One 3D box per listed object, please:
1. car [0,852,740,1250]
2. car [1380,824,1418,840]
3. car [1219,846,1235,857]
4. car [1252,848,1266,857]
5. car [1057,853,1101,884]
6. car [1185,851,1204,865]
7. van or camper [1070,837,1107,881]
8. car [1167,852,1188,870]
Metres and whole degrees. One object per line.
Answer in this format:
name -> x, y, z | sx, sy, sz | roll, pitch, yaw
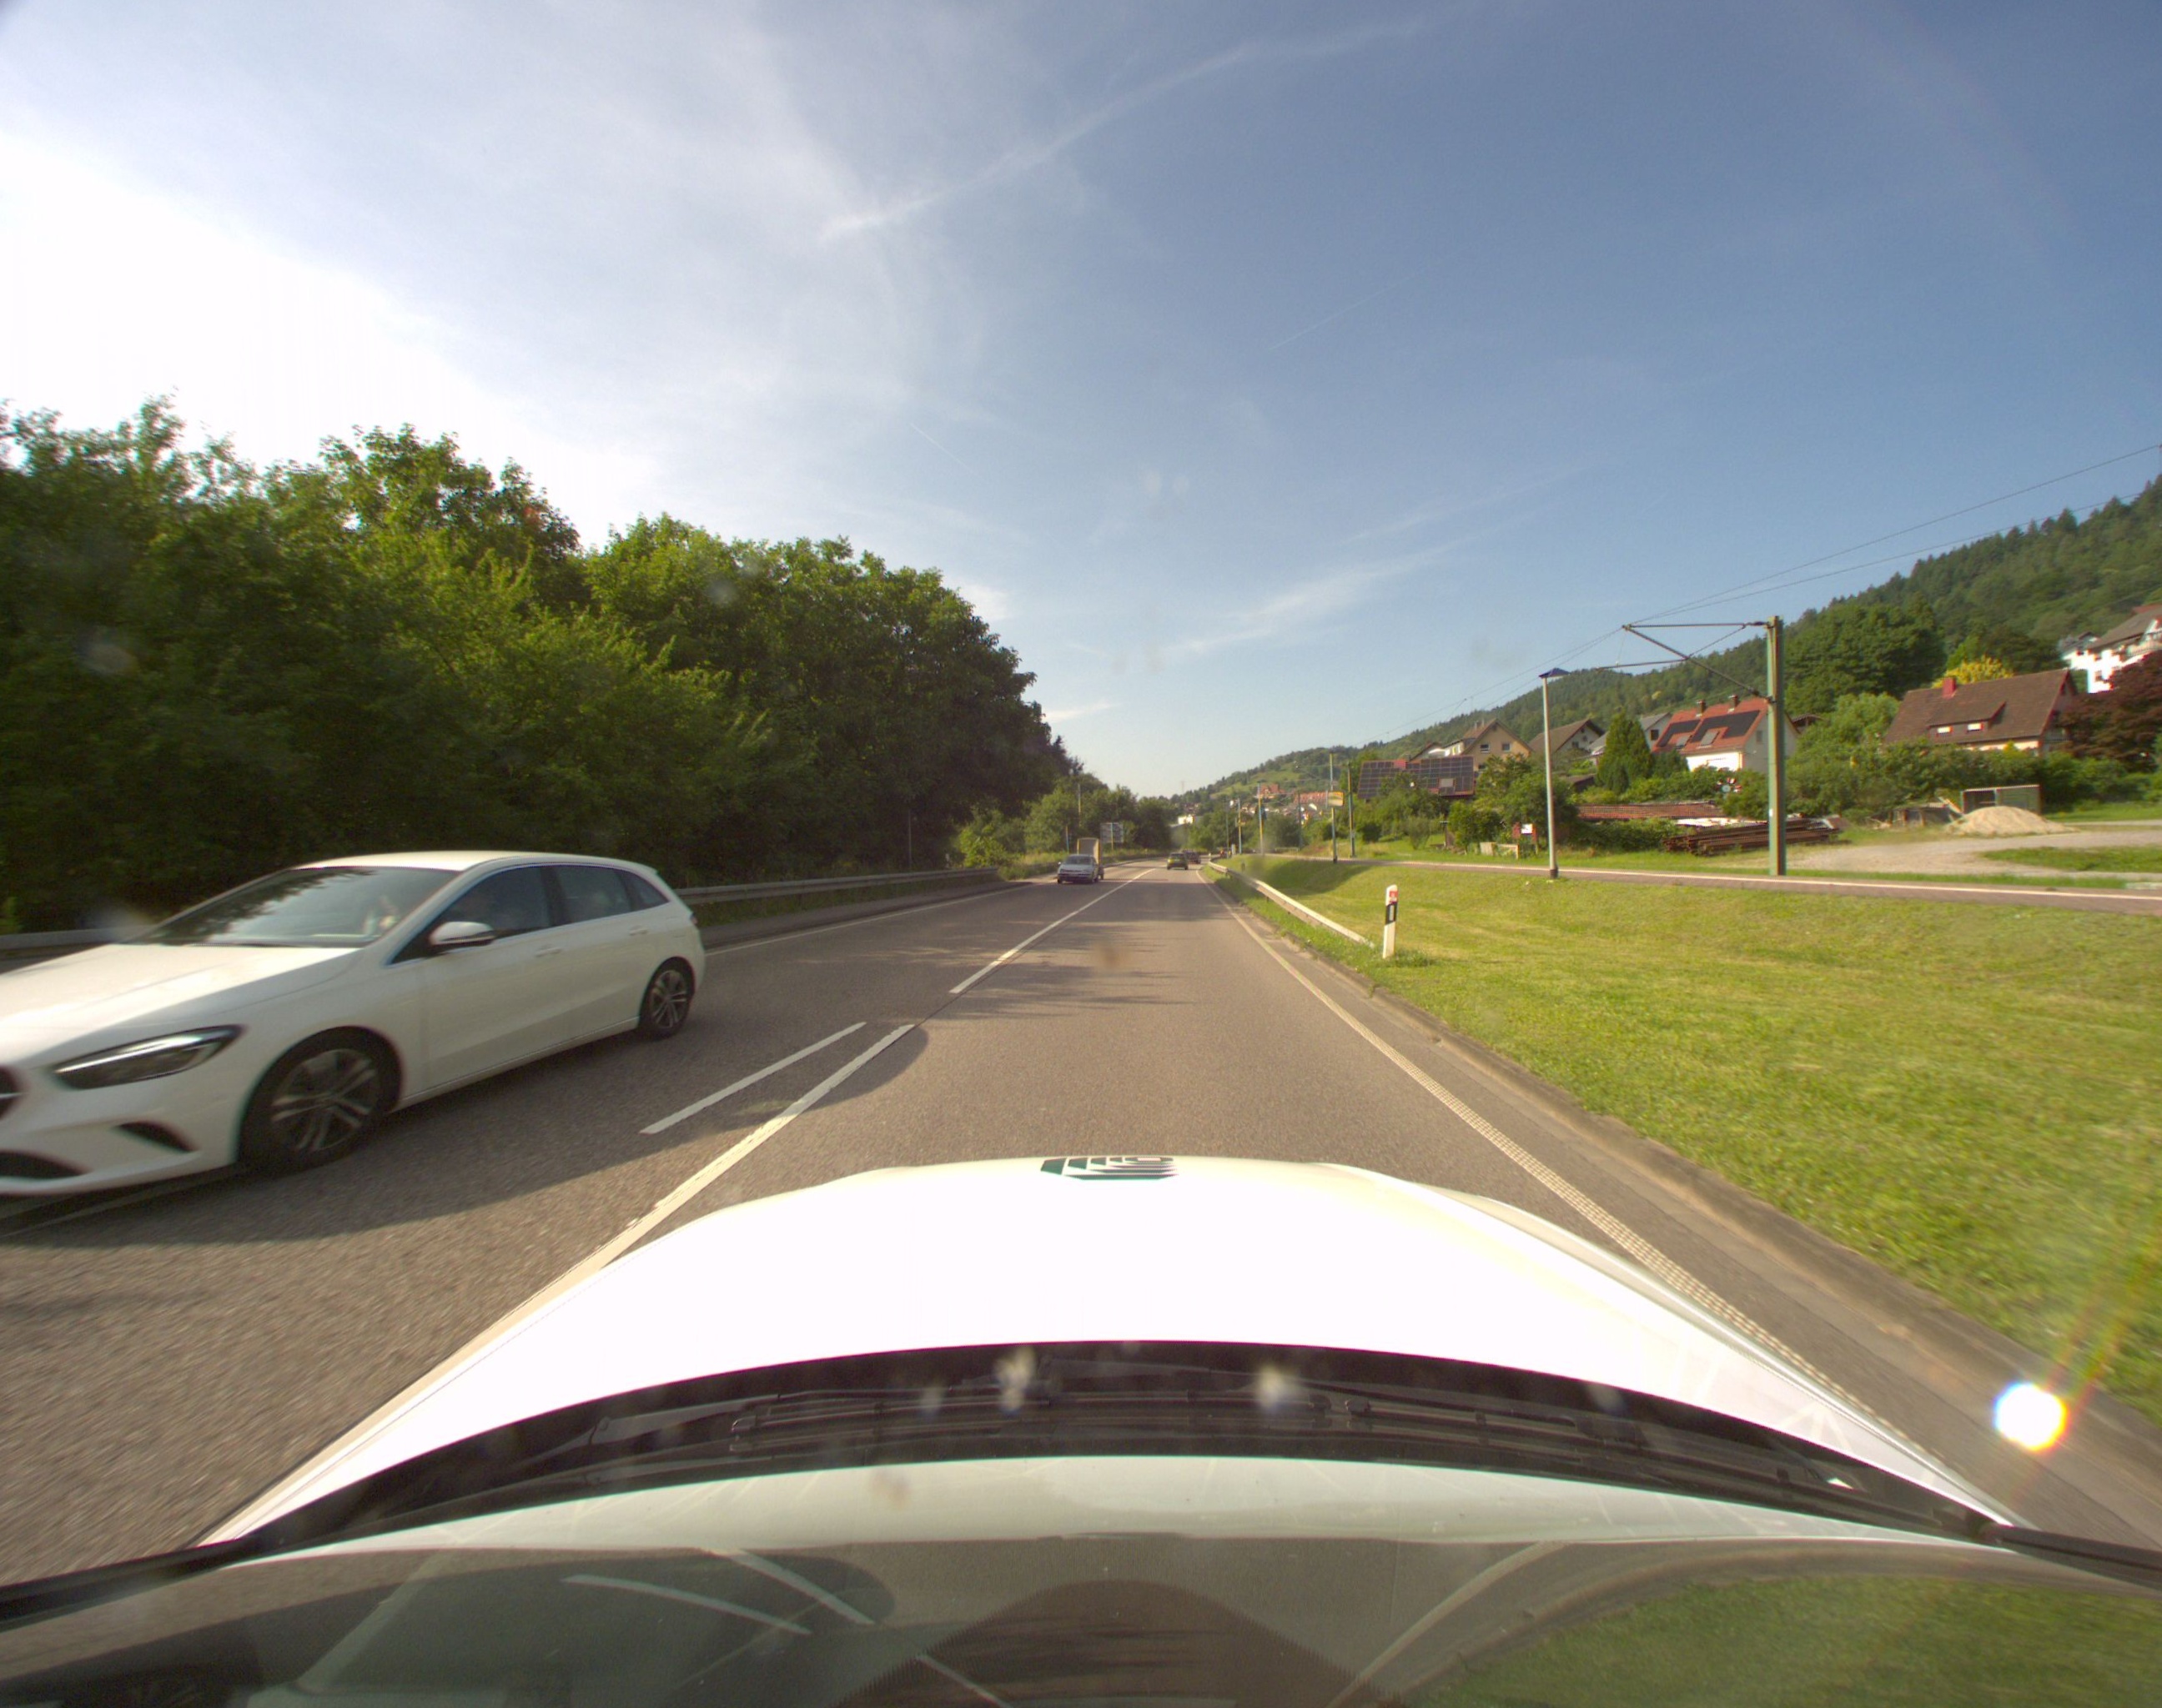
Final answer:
car -> -4.384, 0.738, 5.440 | 1.935, 1.486, 4.592 | 0, 0, 5
car -> 36.873, -2.531, 94.504 | 3.952, 1.684, 2.011 | -3, 0, 22
car -> 22.121, -0.381, 123.209 | 1.792, 1.453, 3.665 | -3, 0, 19
car -> 31.751, -0.277, 145.367 | 1.792, 1.408, 3.794 | -3, 0, 23
car -> -0.038, 0.701, 40.993 | 1.640, 1.436, 4.614 | 1, 0, 6
car -> 12.841, 0.414, 92.082 | 1.828, 1.459, 3.724 | -3, 0, 11
van or camper -> 0.464, 0.259, 45.320 | 1.594, 2.328, 4.067 | 1, 0, 6
car -> 8.333, 0.568, 70.319 | 1.719, 1.457, 3.417 | -3, 0, 7
